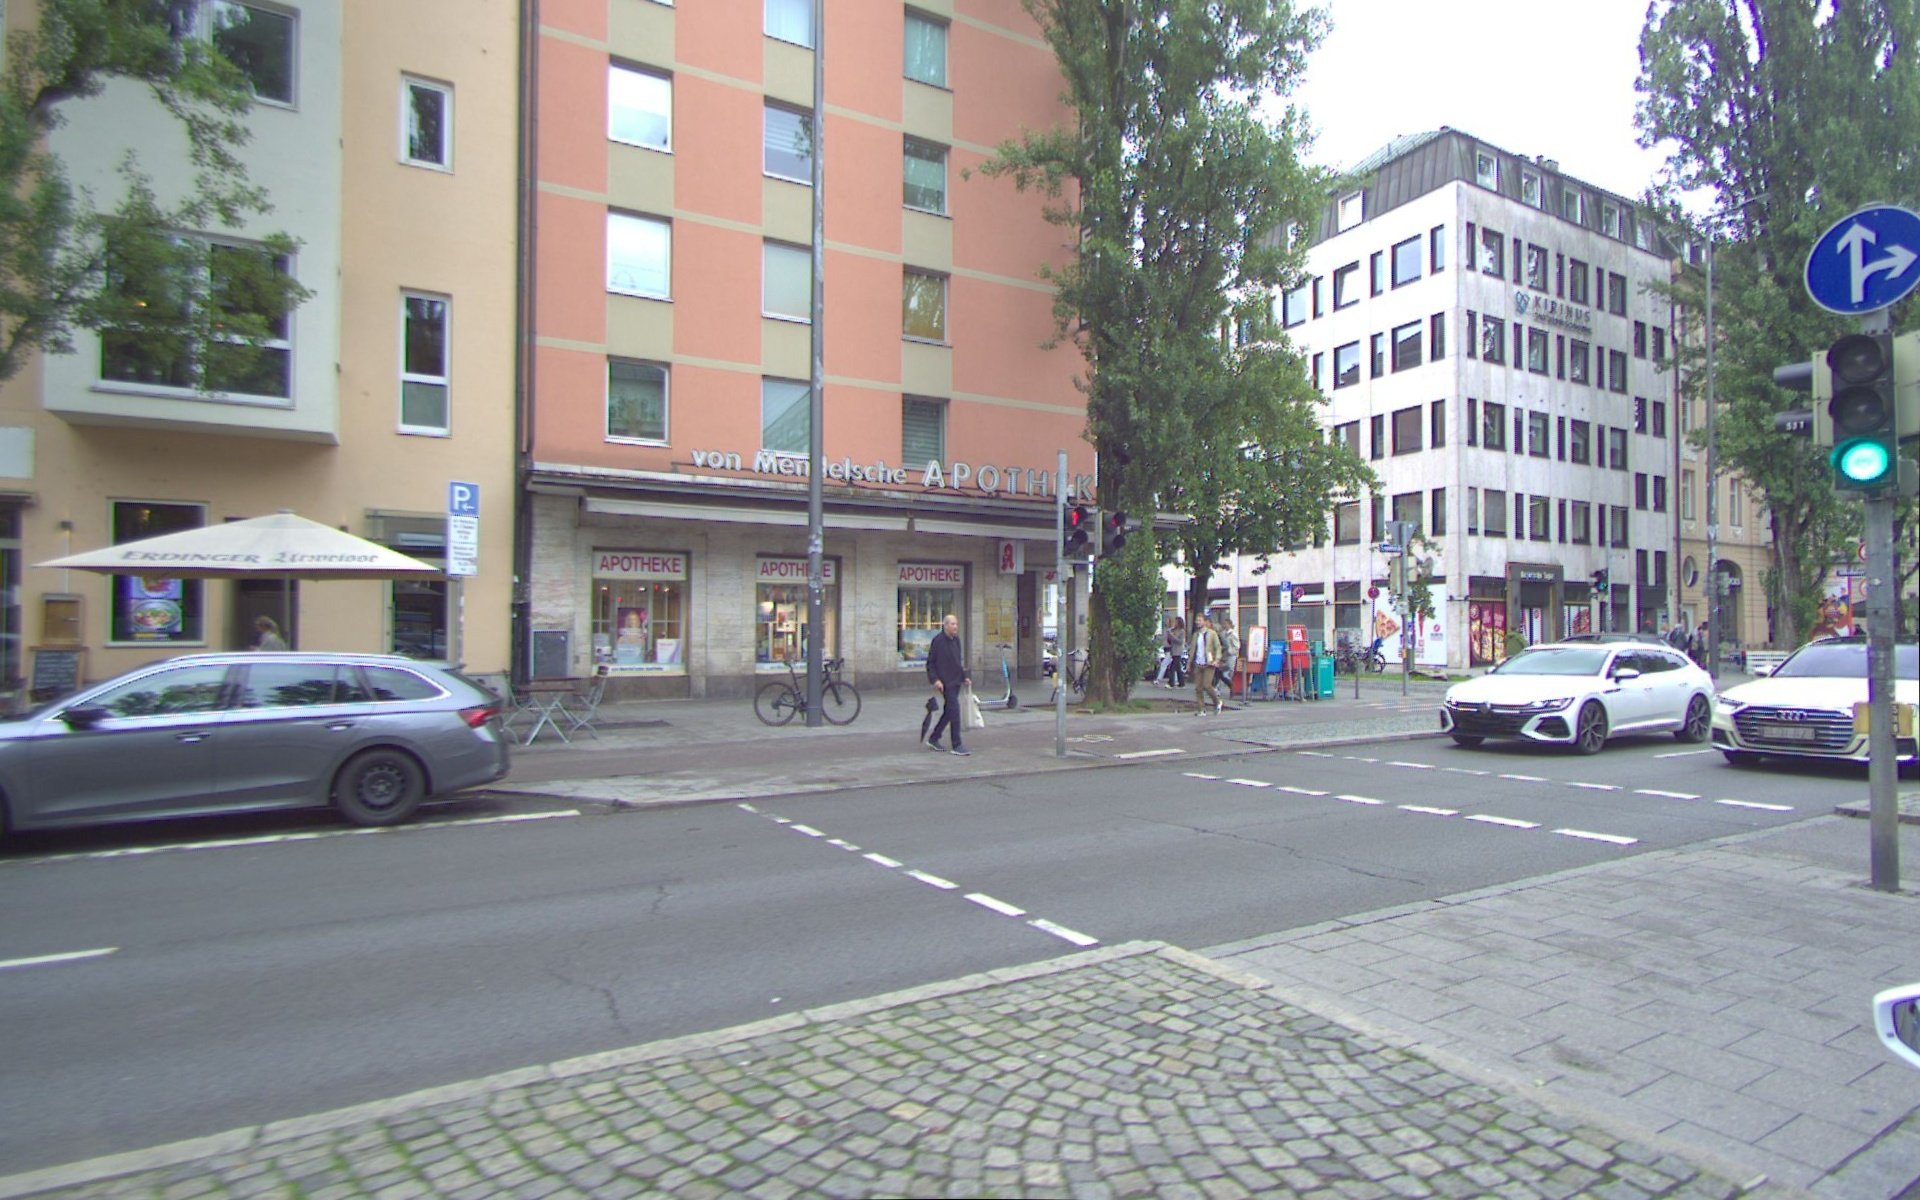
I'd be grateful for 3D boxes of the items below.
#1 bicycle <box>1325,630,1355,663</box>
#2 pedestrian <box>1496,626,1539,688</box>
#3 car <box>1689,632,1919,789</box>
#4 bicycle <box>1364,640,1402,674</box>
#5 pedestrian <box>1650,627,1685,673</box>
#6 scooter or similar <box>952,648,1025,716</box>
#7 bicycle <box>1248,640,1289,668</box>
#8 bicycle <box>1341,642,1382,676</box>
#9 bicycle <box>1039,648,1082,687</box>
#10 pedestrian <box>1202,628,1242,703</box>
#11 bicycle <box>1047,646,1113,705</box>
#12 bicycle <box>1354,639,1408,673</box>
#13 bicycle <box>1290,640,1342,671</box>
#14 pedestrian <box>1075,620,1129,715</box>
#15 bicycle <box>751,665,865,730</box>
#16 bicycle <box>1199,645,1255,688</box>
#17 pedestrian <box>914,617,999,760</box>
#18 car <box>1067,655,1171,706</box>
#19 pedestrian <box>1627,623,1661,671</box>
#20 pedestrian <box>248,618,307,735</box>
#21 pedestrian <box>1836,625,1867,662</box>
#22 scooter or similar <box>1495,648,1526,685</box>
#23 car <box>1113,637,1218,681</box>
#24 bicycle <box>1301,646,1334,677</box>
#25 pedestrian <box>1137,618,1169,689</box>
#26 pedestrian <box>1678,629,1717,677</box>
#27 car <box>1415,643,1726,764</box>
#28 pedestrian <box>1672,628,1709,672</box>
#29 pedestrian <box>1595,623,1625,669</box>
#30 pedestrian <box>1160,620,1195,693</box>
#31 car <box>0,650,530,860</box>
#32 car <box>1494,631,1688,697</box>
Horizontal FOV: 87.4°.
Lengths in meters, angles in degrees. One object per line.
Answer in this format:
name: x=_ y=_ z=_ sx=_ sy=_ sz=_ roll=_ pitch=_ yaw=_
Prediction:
bicycle: x=14.218 y=1.726 z=37.587 sx=0.410 sy=1.199 sz=1.999 roll=-2 pitch=-2 yaw=40
pedestrian: x=16.230 y=1.639 z=29.236 sx=0.931 sy=1.763 sz=0.723 roll=1 pitch=-1 yaw=-31
car: x=10.847 y=1.151 z=11.853 sx=4.928 sy=1.521 sz=1.835 roll=1 pitch=-3 yaw=-31
bicycle: x=15.363 y=2.048 z=36.432 sx=1.836 sy=1.199 sz=0.412 roll=1 pitch=-2 yaw=-37
pedestrian: x=26.727 y=1.870 z=37.941 sx=0.966 sy=1.704 sz=0.728 roll=1 pitch=0 yaw=-30
scooter or similar: x=0.541 y=1.502 z=18.676 sx=1.389 sy=1.189 sz=0.404 roll=1 pitch=-2 yaw=-35
bicycle: x=12.095 y=2.113 z=39.472 sx=0.410 sy=1.061 sz=2.055 roll=0 pitch=-2 yaw=-19
bicycle: x=14.899 y=2.164 z=37.224 sx=2.014 sy=1.199 sz=0.412 roll=1 pitch=-2 yaw=-37
bicycle: x=3.315 y=2.225 z=33.338 sx=0.530 sy=1.200 sz=2.052 roll=1 pitch=-1 yaw=-22
pedestrian: x=5.739 y=1.421 z=22.019 sx=0.541 sy=1.604 sz=0.654 roll=1 pitch=-1 yaw=-29
bicycle: x=2.458 y=1.533 z=20.509 sx=1.357 sy=1.156 sz=0.419 roll=1 pitch=-1 yaw=-30
bicycle: x=16.213 y=2.140 z=38.744 sx=0.550 sy=1.265 sz=2.128 roll=0 pitch=-1 yaw=-24
bicycle: x=13.686 y=2.123 z=38.606 sx=2.028 sy=1.199 sz=0.415 roll=1 pitch=-1 yaw=-14
pedestrian: x=2.768 y=1.302 z=19.638 sx=0.768 sy=1.794 sz=0.721 roll=1 pitch=-2 yaw=-29
bicycle: x=-2.414 y=1.549 z=16.023 sx=1.777 sy=0.999 sz=0.330 roll=0 pitch=-1 yaw=-5
bicycle: x=7.767 y=1.913 z=29.167 sx=2.044 sy=1.199 sz=0.412 roll=1 pitch=-2 yaw=-37
pedestrian: x=-0.060 y=1.135 z=13.207 sx=0.975 sy=1.819 sz=0.736 roll=1 pitch=-1 yaw=-12
car: x=5.326 y=2.681 z=34.142 sx=1.755 sy=1.439 sz=3.980 roll=1 pitch=-1 yaw=-21
pedestrian: x=26.312 y=1.788 z=38.638 sx=0.901 sy=1.811 sz=0.796 roll=0 pitch=0 yaw=-30
pedestrian: x=-10.418 y=1.147 z=15.353 sx=0.684 sy=1.740 sz=0.552 roll=1 pitch=-2 yaw=-31
pedestrian: x=42.739 y=2.084 z=48.146 sx=0.943 sy=1.767 sz=0.840 roll=1 pitch=-1 yaw=-29
scooter or similar: x=16.968 y=2.041 z=30.971 sx=0.271 sy=1.107 sz=0.808 roll=1 pitch=-1 yaw=-34
car: x=7.127 y=2.016 z=35.289 sx=1.755 sy=1.439 sz=3.981 roll=0 pitch=-2 yaw=-21
bicycle: x=14.154 y=2.416 z=39.755 sx=0.444 sy=1.199 sz=2.051 roll=-2 pitch=-2 yaw=43
pedestrian: x=4.718 y=1.306 z=24.591 sx=0.508 sy=1.713 sz=0.584 roll=1 pitch=-1 yaw=-30
pedestrian: x=25.423 y=1.809 z=34.630 sx=0.924 sy=1.640 sz=0.774 roll=1 pitch=-2 yaw=-31
car: x=8.680 y=1.348 z=14.181 sx=4.579 sy=1.426 sz=1.814 roll=1 pitch=-3 yaw=-31
pedestrian: x=26.448 y=1.796 z=36.377 sx=0.977 sy=1.588 sz=0.747 roll=1 pitch=-1 yaw=-30
pedestrian: x=26.217 y=1.837 z=40.506 sx=0.810 sy=1.811 sz=0.696 roll=1 pitch=-1 yaw=-29
pedestrian: x=5.179 y=1.338 z=23.924 sx=0.513 sy=1.711 sz=0.627 roll=1 pitch=-1 yaw=-29
car: x=-6.179 y=1.164 z=8.410 sx=4.539 sy=1.457 sz=1.694 roll=1 pitch=-4 yaw=-32
car: x=15.477 y=1.528 z=24.797 sx=1.755 sy=1.494 sz=3.667 roll=1 pitch=-2 yaw=-36
